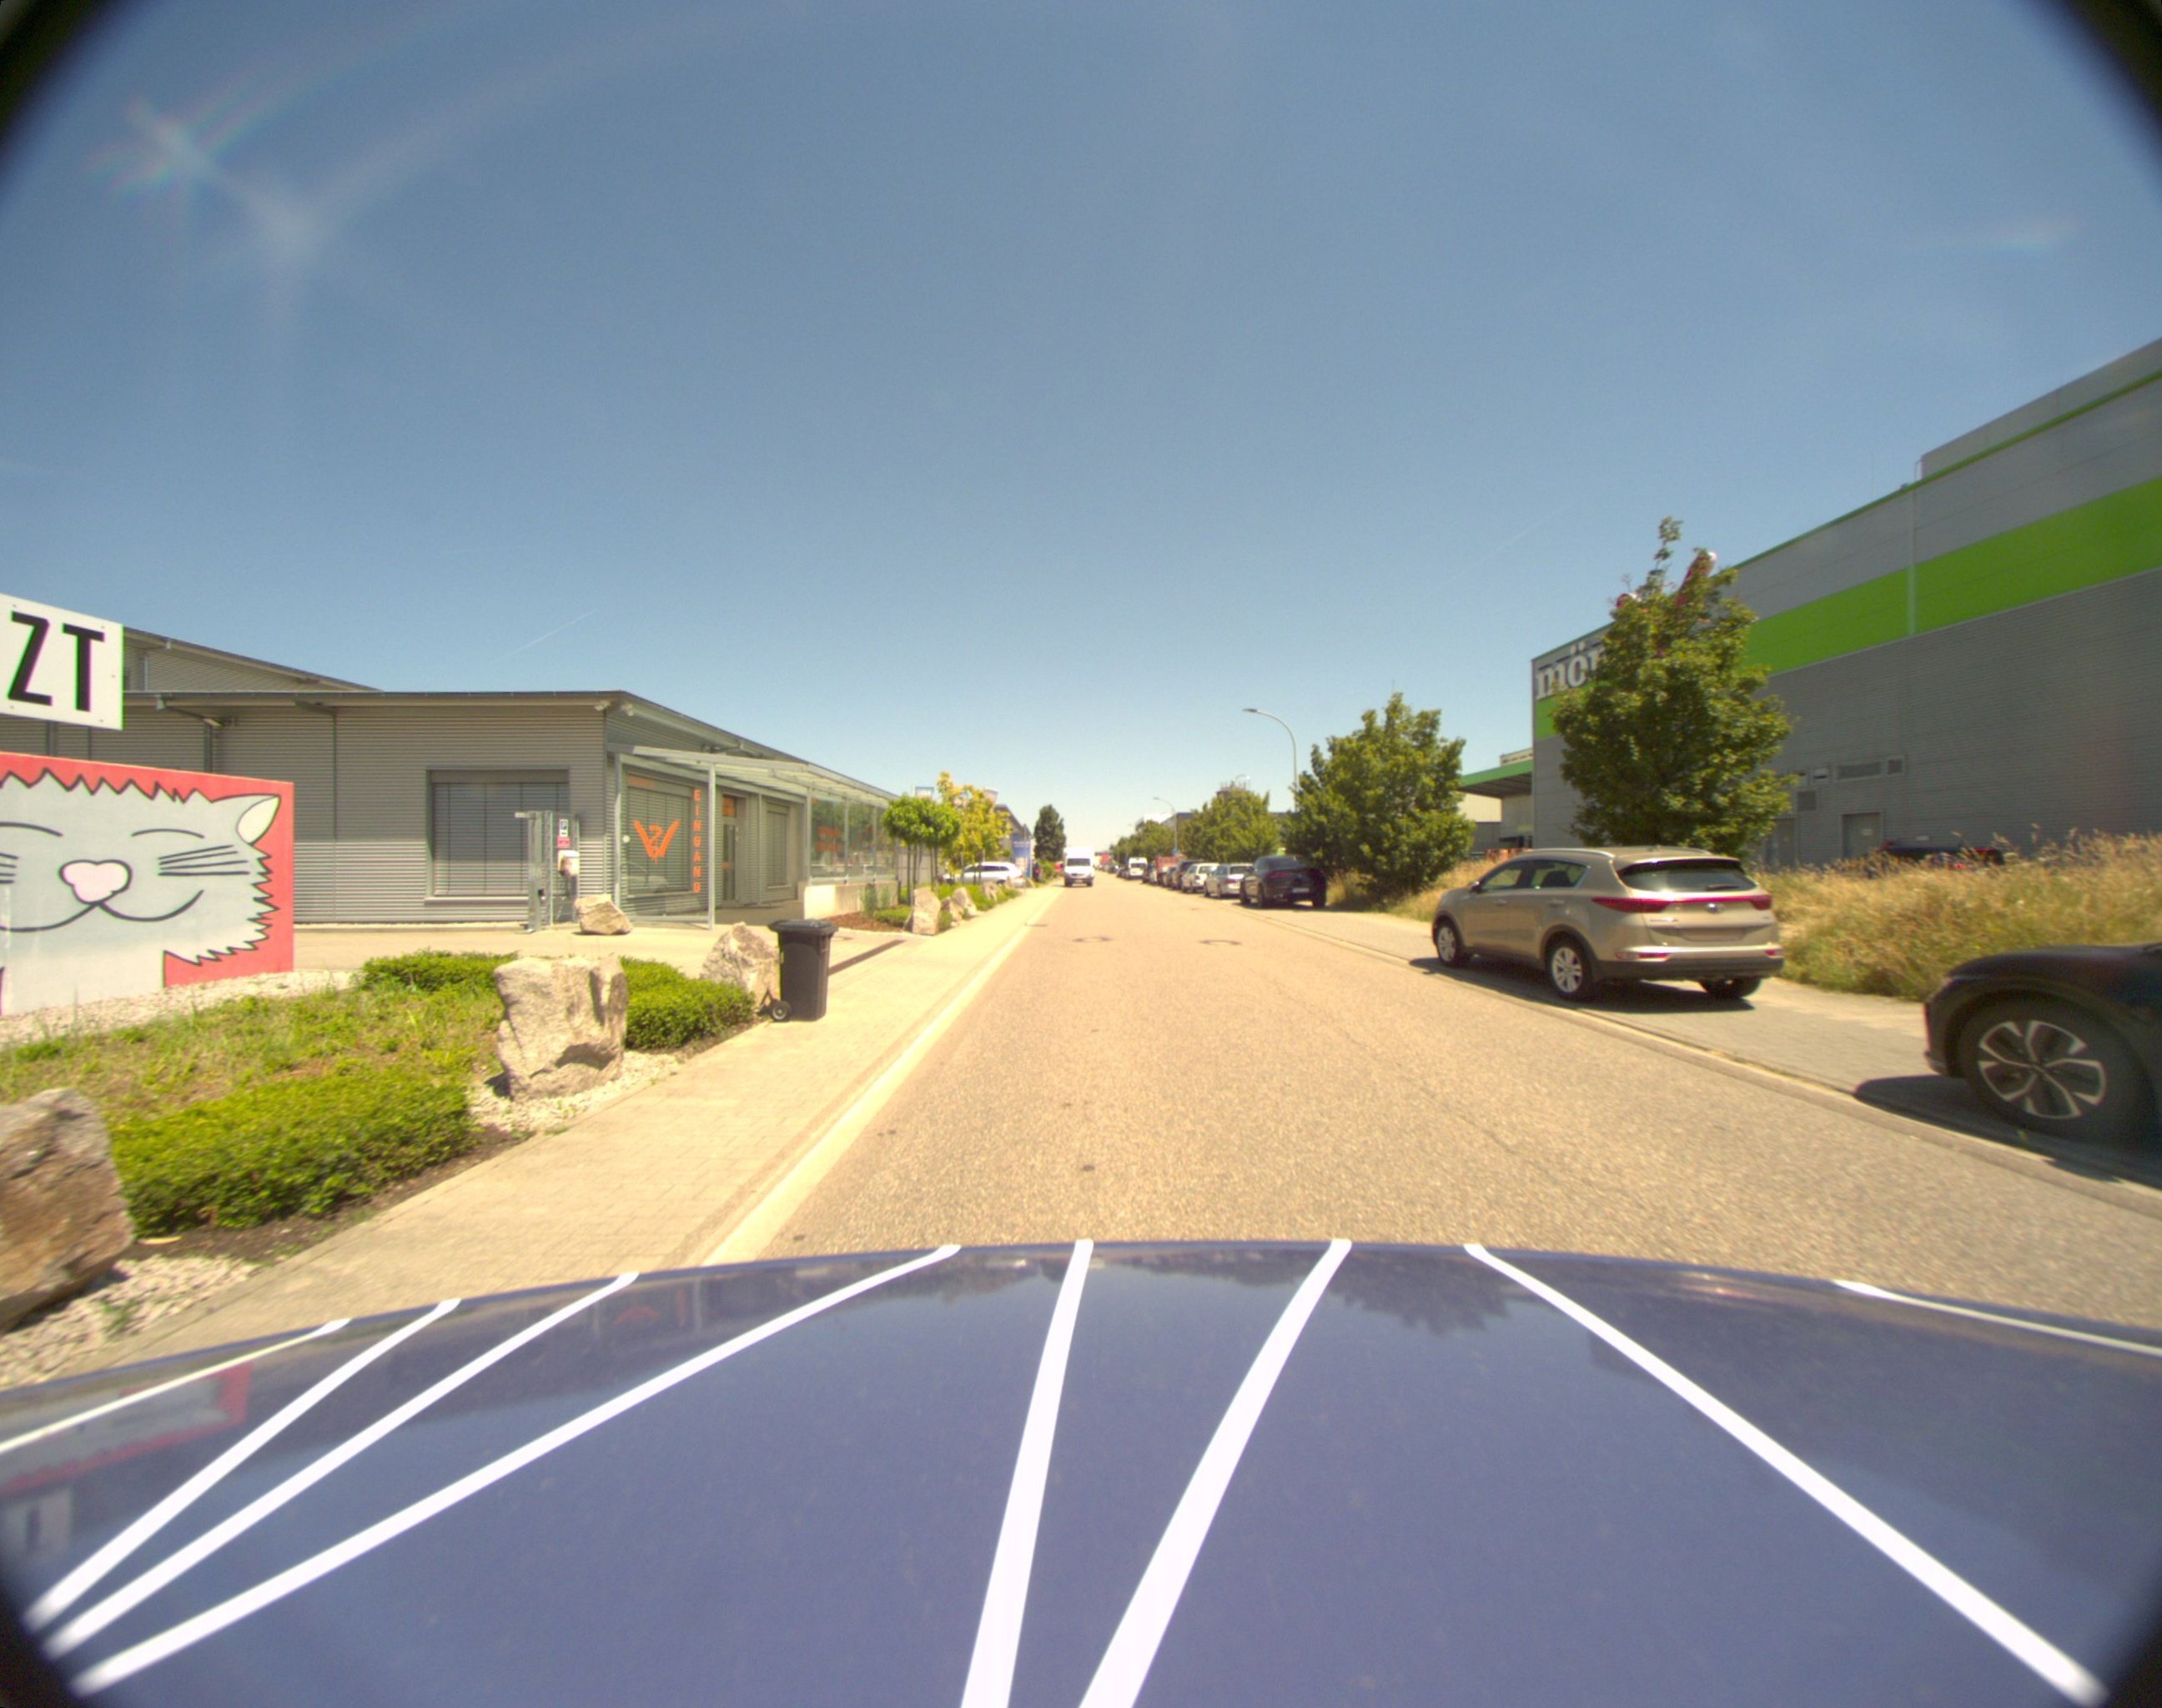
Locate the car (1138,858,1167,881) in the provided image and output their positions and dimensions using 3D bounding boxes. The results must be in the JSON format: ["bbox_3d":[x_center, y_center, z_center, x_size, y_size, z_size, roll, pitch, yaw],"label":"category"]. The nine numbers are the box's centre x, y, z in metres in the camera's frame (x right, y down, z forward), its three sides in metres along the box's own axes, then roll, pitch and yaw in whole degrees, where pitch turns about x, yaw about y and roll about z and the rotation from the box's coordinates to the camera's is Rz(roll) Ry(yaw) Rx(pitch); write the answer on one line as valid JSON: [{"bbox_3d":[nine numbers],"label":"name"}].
[{"bbox_3d":[6.194,1.323,66.538,1.979,1.889,5.402,-2,0,0],"label":"car"}]

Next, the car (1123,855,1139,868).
[{"bbox_3d":[6.824,1.023,104.122,1.835,1.800,4.083,-2,0,1],"label":"car"}]

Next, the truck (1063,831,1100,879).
[{"bbox_3d":[0.104,0.080,54.640,2.463,3.186,6.883,0,0,2],"label":"truck"}]

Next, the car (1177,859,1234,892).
[{"bbox_3d":[6.218,1.025,38.549,1.856,1.510,4.904,-2,0,-2],"label":"car"}]

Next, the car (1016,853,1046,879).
[{"bbox_3d":[-3.959,0.971,61.306,1.998,2.002,5.337,0,0,1],"label":"car"}]

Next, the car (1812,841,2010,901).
[{"bbox_3d":[20.711,0.404,19.154,1.434,1.344,3.238,-2,0,0],"label":"car"}]

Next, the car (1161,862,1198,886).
[{"bbox_3d":[6.407,1.283,50.068,1.856,1.435,4.753,0,0,0],"label":"car"}]

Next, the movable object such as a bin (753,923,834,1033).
[{"bbox_3d":[-2.671,1.145,7.107,0.560,0.941,0.539,0,1,-1],"label":"movable object such as a bin"}]

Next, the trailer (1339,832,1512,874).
[{"bbox_3d":[33.386,-0.090,74.161,15.358,4.063,3.219,0,0,1],"label":"trailer"}]

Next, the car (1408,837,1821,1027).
[{"bbox_3d":[5.941,0.745,9.311,1.917,1.703,4.413,-2,0,0],"label":"car"}]

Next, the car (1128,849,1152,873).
[{"bbox_3d":[6.742,0.782,87.308,2.328,2.583,6.086,-2,0,1],"label":"car"}]

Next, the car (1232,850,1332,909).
[{"bbox_3d":[6.597,0.786,25.559,1.996,1.703,5.007,-2,0,0],"label":"car"}]

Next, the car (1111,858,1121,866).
[{"bbox_3d":[7.291,1.721,159.194,1.799,1.638,3.831,0,0,-1],"label":"car"}]

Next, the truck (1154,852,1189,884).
[{"bbox_3d":[6.560,0.984,55.590,1.856,2.209,4.646,-2,0,0],"label":"truck"}]

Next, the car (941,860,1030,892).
[{"bbox_3d":[-4.703,1.070,37.940,4.291,1.532,1.912,0,0,-3],"label":"car"}]

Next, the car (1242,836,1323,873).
[{"bbox_3d":[16.533,0.034,62.528,5.989,2.808,2.521,-1,0,0],"label":"car"}]

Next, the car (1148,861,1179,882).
[{"bbox_3d":[6.463,1.352,60.059,1.856,1.541,3.766,-2,0,-2],"label":"car"}]

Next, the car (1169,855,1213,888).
[{"bbox_3d":[6.298,0.970,44.148,1.856,1.748,4.987,-2,0,1],"label":"car"}]

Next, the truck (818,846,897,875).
[{"bbox_3d":[-18.708,0.567,63.822,5.947,2.356,2.181,0,0,1],"label":"truck"}]

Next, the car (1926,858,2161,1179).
[{"bbox_3d":[6.166,0.770,2.415,1.918,1.483,4.412,-2,0,-3],"label":"car"}]

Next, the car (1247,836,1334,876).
[{"bbox_3d":[16.089,0.137,58.665,5.989,2.908,2.521,-1,0,0],"label":"car"}]

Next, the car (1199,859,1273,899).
[{"bbox_3d":[6.516,0.996,32.530,1.856,1.510,5.166,-2,0,-2],"label":"car"}]
